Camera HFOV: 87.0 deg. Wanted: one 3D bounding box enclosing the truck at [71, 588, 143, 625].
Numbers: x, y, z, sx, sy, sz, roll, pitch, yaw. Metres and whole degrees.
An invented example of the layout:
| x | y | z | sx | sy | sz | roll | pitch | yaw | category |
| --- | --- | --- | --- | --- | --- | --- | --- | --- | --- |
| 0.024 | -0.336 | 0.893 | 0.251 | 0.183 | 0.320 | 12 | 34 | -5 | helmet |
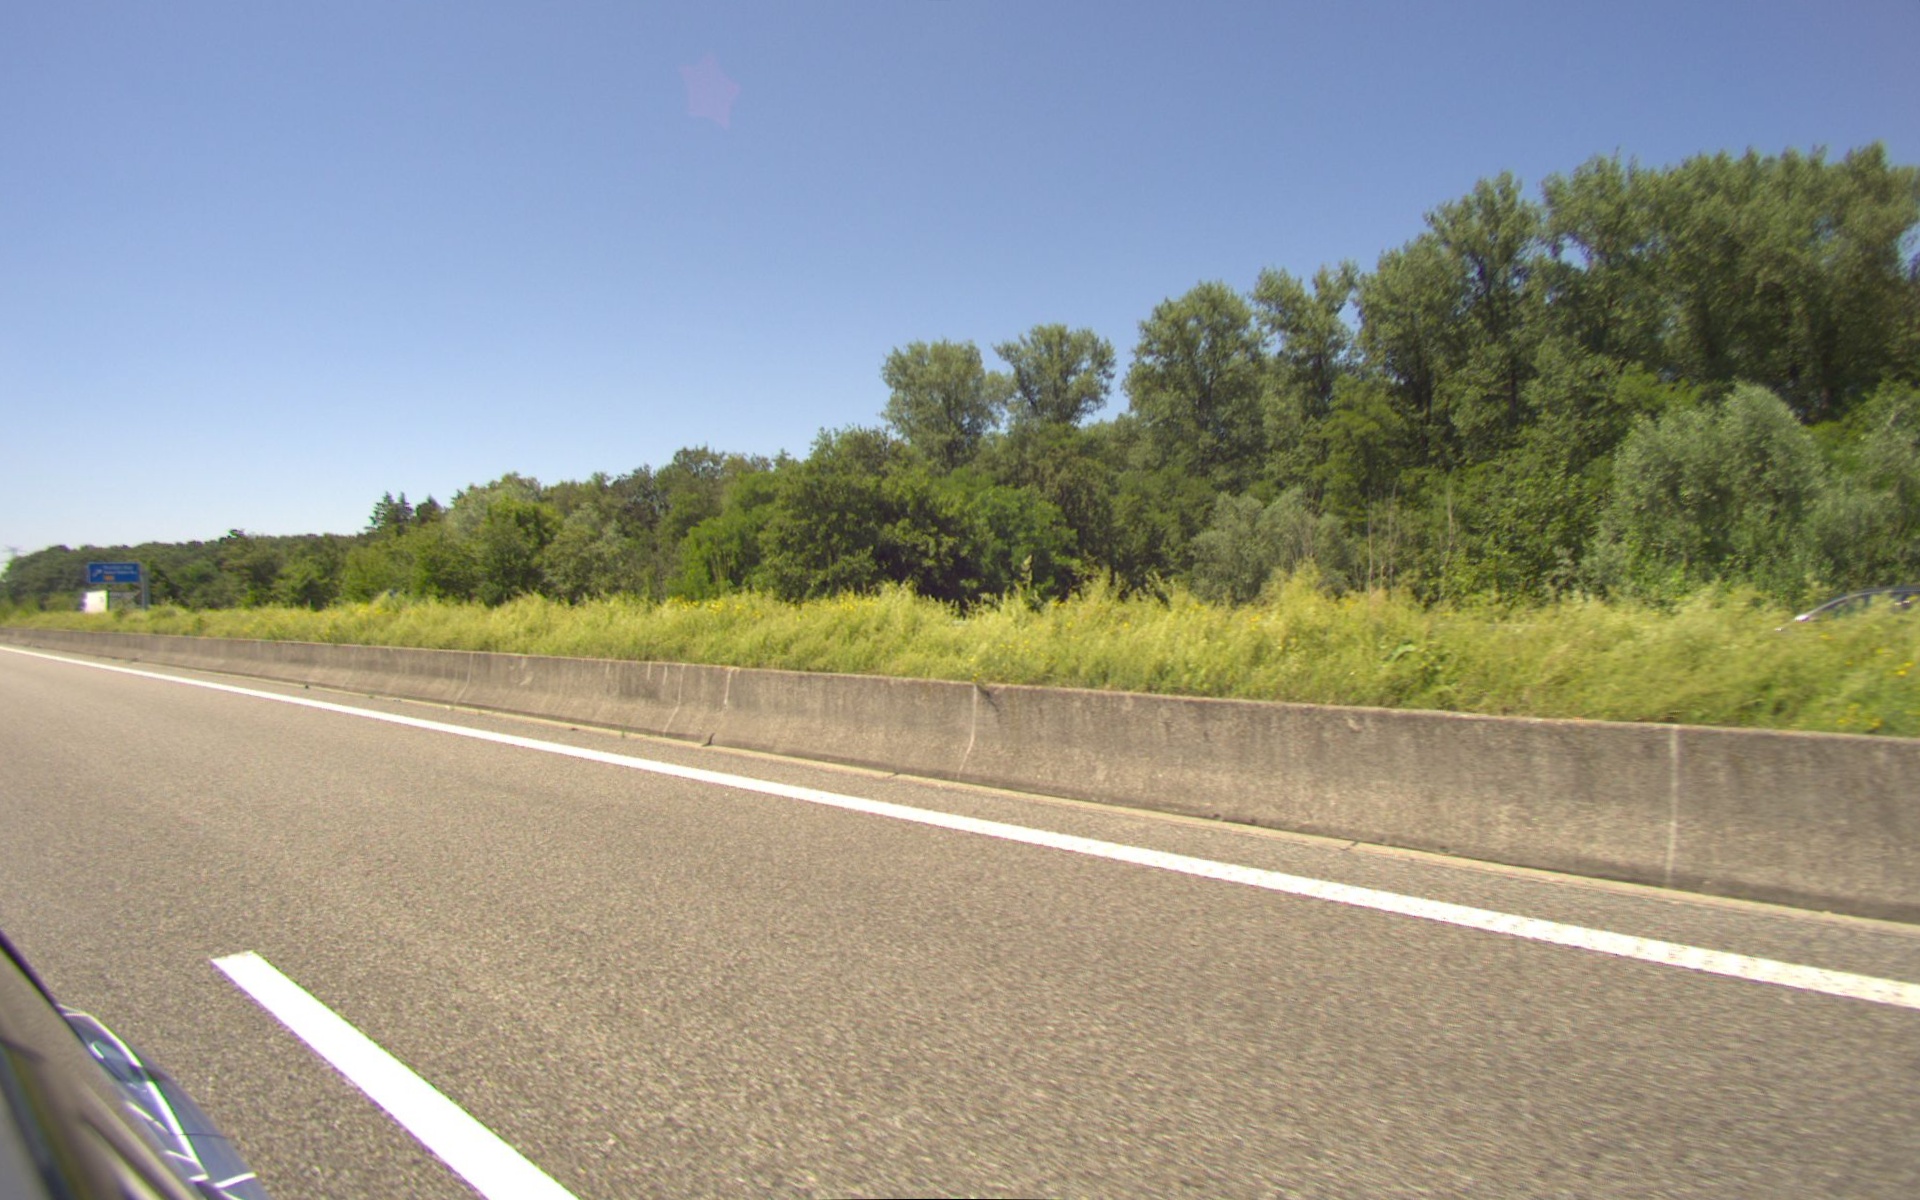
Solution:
| x | y | z | sx | sy | sz | roll | pitch | yaw | category |
| --- | --- | --- | --- | --- | --- | --- | --- | --- | --- |
| -96.531 | 0.824 | 114.355 | 17.476 | 3.763 | 3.561 | -2 | -1 | 41 | truck |
